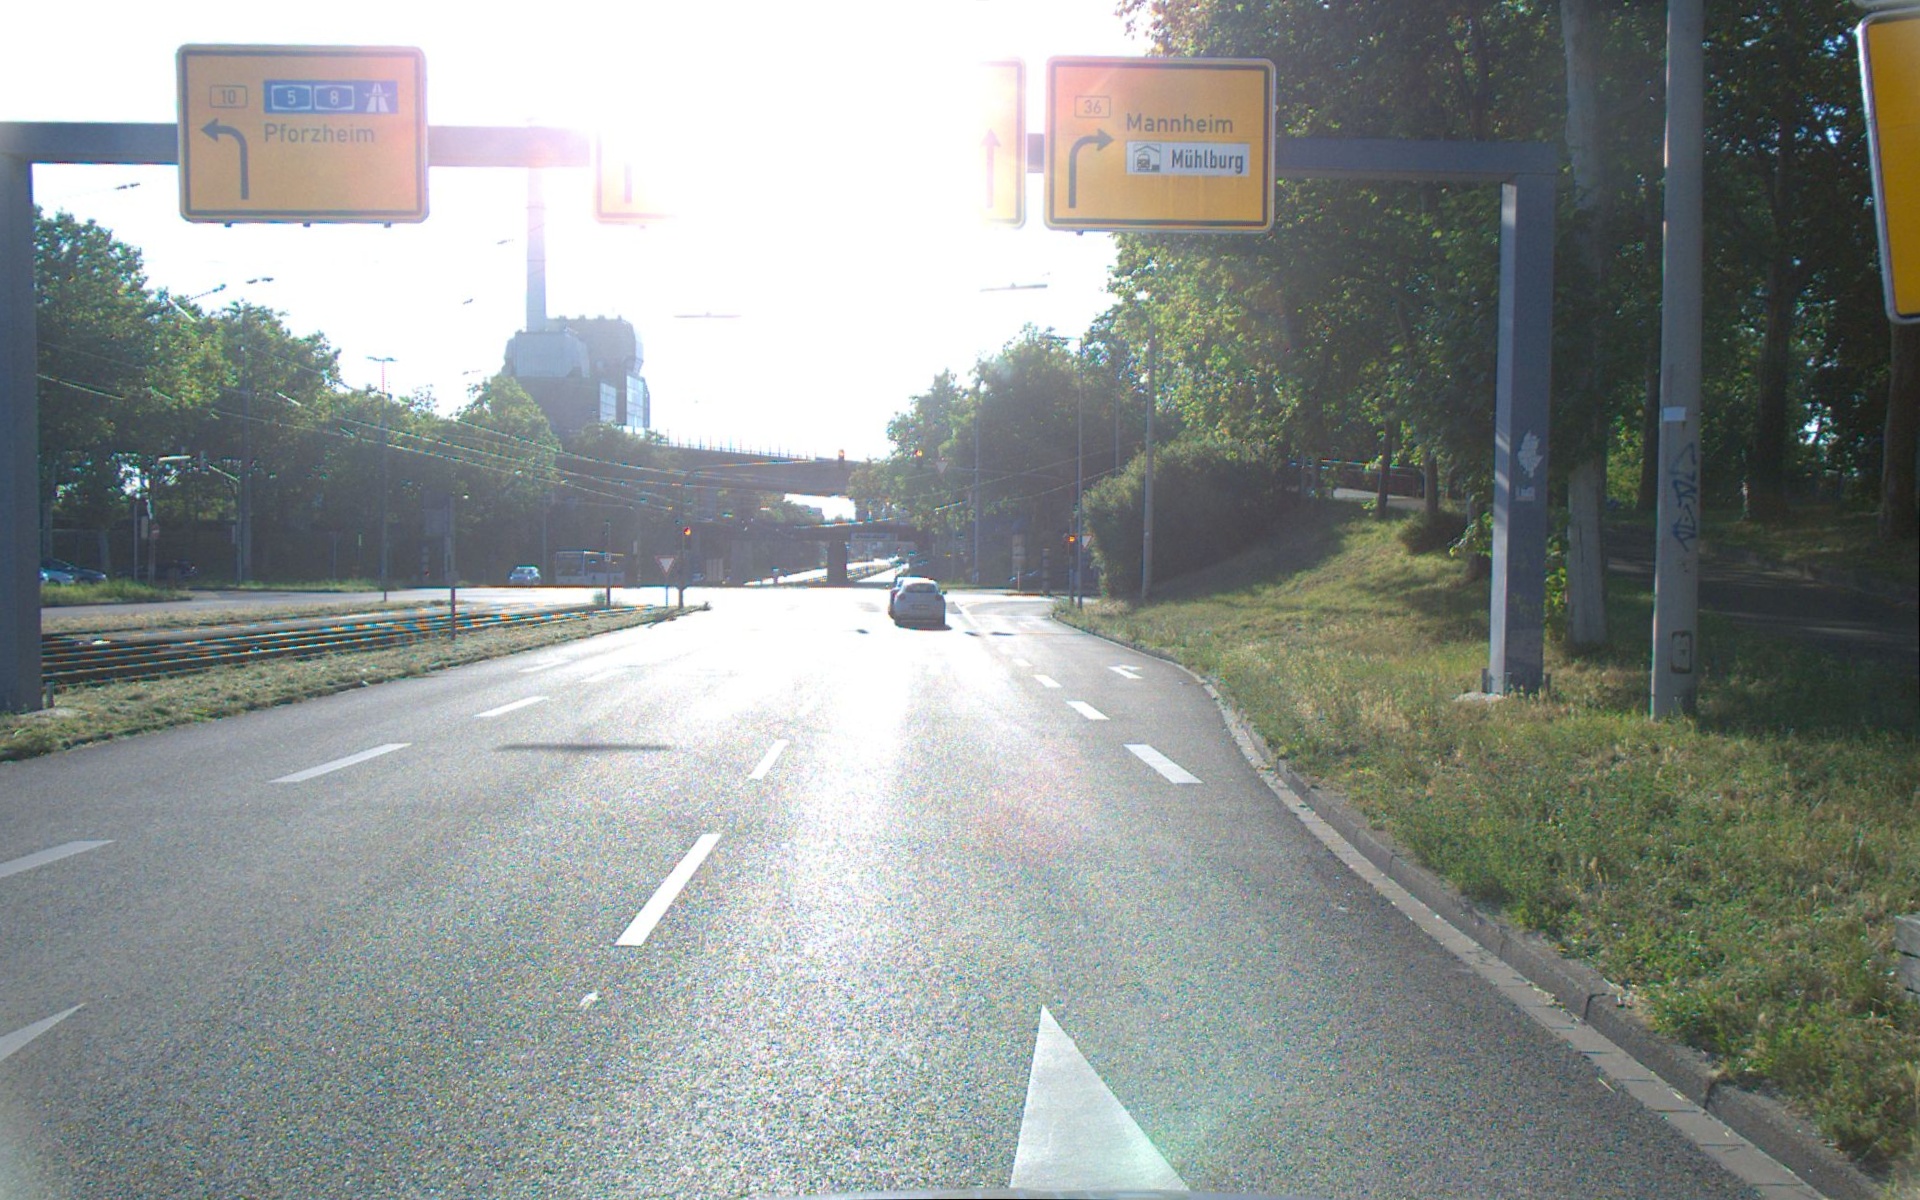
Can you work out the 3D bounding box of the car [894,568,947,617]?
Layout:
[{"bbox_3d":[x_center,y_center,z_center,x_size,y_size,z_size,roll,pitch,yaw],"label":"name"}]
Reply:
[{"bbox_3d":[-1.353,-0.275,55.221,1.701,1.531,3.998,0,2,-3],"label":"car"}]

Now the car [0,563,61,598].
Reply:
[{"bbox_3d":[-41.530,-0.864,72.025,4.137,1.429,1.655,1,1,-29],"label":"car"}]

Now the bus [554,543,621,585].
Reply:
[{"bbox_3d":[-30.883,-2.889,137.730,2.491,3.184,12.919,0,0,1],"label":"bus"}]

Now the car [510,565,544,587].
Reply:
[{"bbox_3d":[-30.922,-1.714,118.125,1.575,1.538,4.006,1,1,-3],"label":"car"}]

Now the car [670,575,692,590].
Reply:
[{"bbox_3d":[-28.762,-1.792,170.809,1.574,1.443,4.008,1,1,0],"label":"car"}]

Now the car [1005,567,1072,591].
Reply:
[{"bbox_3d":[5.581,-1.479,117.953,4.506,1.602,1.685,1,1,-19],"label":"car"}]

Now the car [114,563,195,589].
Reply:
[{"bbox_3d":[-47.683,-1.418,97.919,3.905,1.531,1.742,0,1,0],"label":"car"}]

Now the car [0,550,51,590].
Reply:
[{"bbox_3d":[-40.712,-1.271,68.468,5.282,1.602,1.727,0,1,-25],"label":"car"}]

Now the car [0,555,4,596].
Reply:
[{"bbox_3d":[-39.913,-1.008,64.986,3.941,1.602,1.678,0,1,-28],"label":"car"}]
